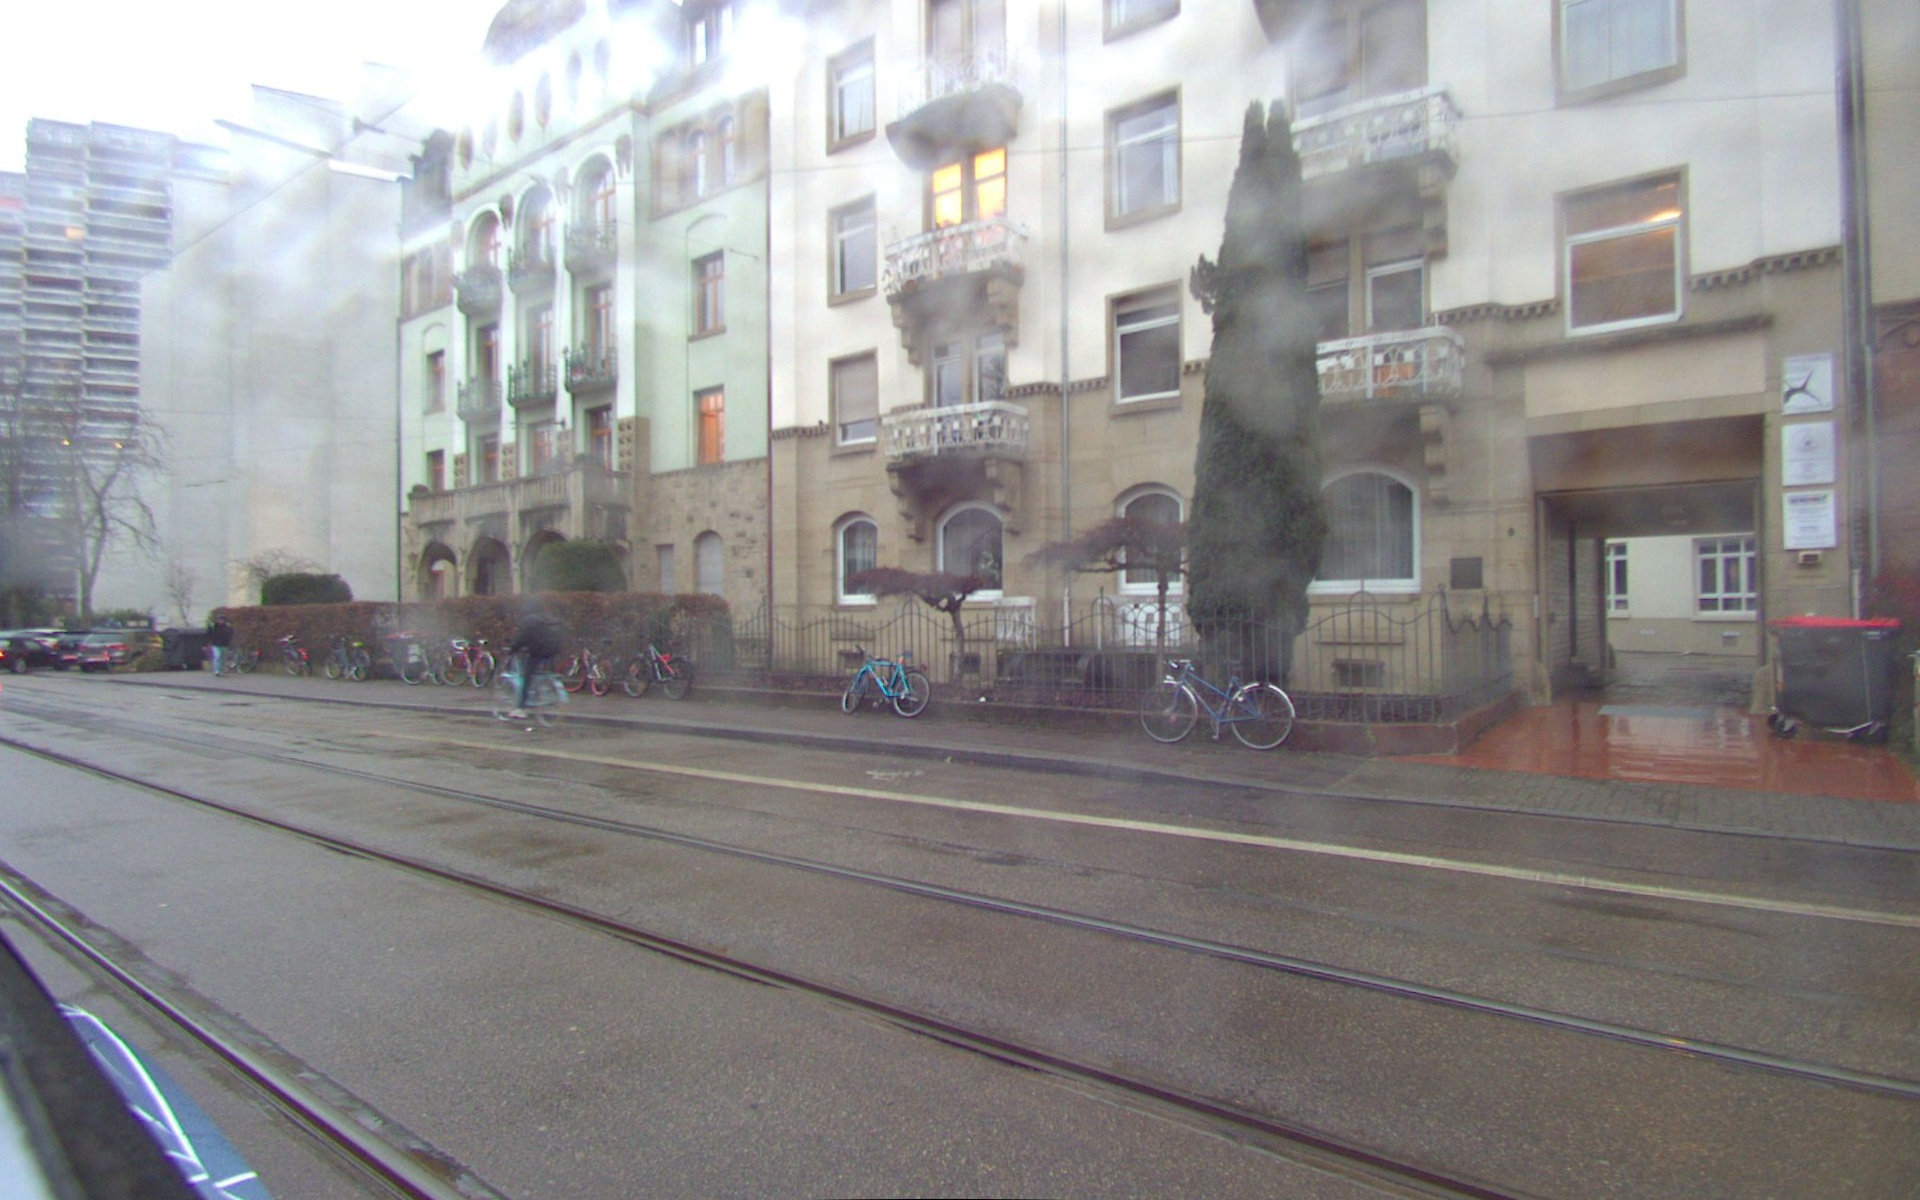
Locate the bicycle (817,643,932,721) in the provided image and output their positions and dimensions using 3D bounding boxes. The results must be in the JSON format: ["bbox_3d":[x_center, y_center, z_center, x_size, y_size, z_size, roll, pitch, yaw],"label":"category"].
[{"bbox_3d":[-1.219,1.122,14.255,1.661,1.010,0.617,-2,-2,40],"label":"bicycle"}]

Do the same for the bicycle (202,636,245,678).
[{"bbox_3d":[-21.460,1.654,29.468,1.661,1.173,0.617,-2,-1,40],"label":"bicycle"}]

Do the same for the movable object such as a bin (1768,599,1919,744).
[{"bbox_3d":[9.393,0.722,10.792,1.166,1.390,1.092,-2,1,39],"label":"movable object such as a bin"}]

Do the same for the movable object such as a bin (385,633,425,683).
[{"bbox_3d":[-13.471,1.399,24.575,0.674,1.173,0.651,-2,-2,40],"label":"movable object such as a bin"}]

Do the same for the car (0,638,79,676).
[{"bbox_3d":[-33.252,1.974,35.408,1.687,1.262,3.666,0,-2,-1],"label":"car"}]

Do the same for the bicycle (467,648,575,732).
[{"bbox_3d":[-6.323,1.259,14.527,1.946,1.101,0.617,-2,-2,40],"label":"bicycle"}]

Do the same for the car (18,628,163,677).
[{"bbox_3d":[-31.371,1.863,36.690,1.843,1.608,3.999,-1,-1,0],"label":"car"}]

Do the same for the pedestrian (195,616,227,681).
[{"bbox_3d":[-20.693,1.335,27.968,0.644,1.738,0.567,0,1,41],"label":"pedestrian"}]

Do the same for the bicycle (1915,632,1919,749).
[{"bbox_3d":[8.728,0.887,8.572,0.694,1.114,2.326,-2,1,38],"label":"bicycle"}]

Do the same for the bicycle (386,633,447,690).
[{"bbox_3d":[-12.143,1.352,22.603,1.661,1.221,0.617,-2,-2,40],"label":"bicycle"}]

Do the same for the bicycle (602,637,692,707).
[{"bbox_3d":[-5.390,1.209,17.391,1.781,1.134,0.617,-2,-2,40],"label":"bicycle"}]

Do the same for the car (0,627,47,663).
[{"bbox_3d":[-44.975,2.097,46.851,1.843,1.608,3.999,-1,-1,0],"label":"car"}]

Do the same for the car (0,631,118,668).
[{"bbox_3d":[-39.237,2.129,44.083,1.843,1.460,3.999,-1,-1,0],"label":"car"}]

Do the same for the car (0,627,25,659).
[{"bbox_3d":[-49.946,2.225,51.048,1.843,1.608,3.999,-1,-1,0],"label":"car"}]

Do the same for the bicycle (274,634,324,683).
[{"bbox_3d":[-17.227,1.499,26.370,1.661,1.221,0.617,-2,-2,40],"label":"bicycle"}]

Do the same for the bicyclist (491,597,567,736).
[{"bbox_3d":[-6.131,0.921,14.385,0.990,1.891,0.617,-2,-2,40],"label":"bicyclist"}]

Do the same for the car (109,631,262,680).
[{"bbox_3d":[-26.105,1.830,34.297,1.847,1.505,3.989,-1,-1,8],"label":"car"}]

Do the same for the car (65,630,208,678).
[{"bbox_3d":[-28.573,1.836,35.276,1.740,1.497,3.999,-1,-1,0],"label":"car"}]

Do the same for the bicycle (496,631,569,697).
[{"bbox_3d":[-8.322,1.228,19.675,1.661,1.221,0.617,-2,-2,40],"label":"bicycle"}]

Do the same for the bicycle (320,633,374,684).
[{"bbox_3d":[-15.150,1.426,24.998,1.661,1.221,0.617,-2,-2,40],"label":"bicycle"}]

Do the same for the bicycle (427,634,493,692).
[{"bbox_3d":[-10.519,1.302,21.267,1.661,1.173,0.617,-2,-2,40],"label":"bicycle"}]

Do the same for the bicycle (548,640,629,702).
[{"bbox_3d":[-6.855,1.276,18.644,1.725,1.073,0.617,-2,-2,40],"label":"bicycle"}]

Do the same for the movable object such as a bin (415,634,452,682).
[{"bbox_3d":[-13.058,1.425,25.109,0.674,1.173,0.617,-2,-2,40],"label":"movable object such as a bin"}]

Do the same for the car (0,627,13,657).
[{"bbox_3d":[-52.388,2.270,53.025,1.843,1.608,3.999,-1,-1,0],"label":"car"}]

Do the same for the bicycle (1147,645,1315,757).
[{"bbox_3d":[2.928,1.058,11.032,1.661,1.101,0.617,-2,-2,40],"label":"bicycle"}]

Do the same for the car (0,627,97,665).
[{"bbox_3d":[-42.156,2.094,46.375,1.843,1.608,3.999,-1,-1,0],"label":"car"}]
